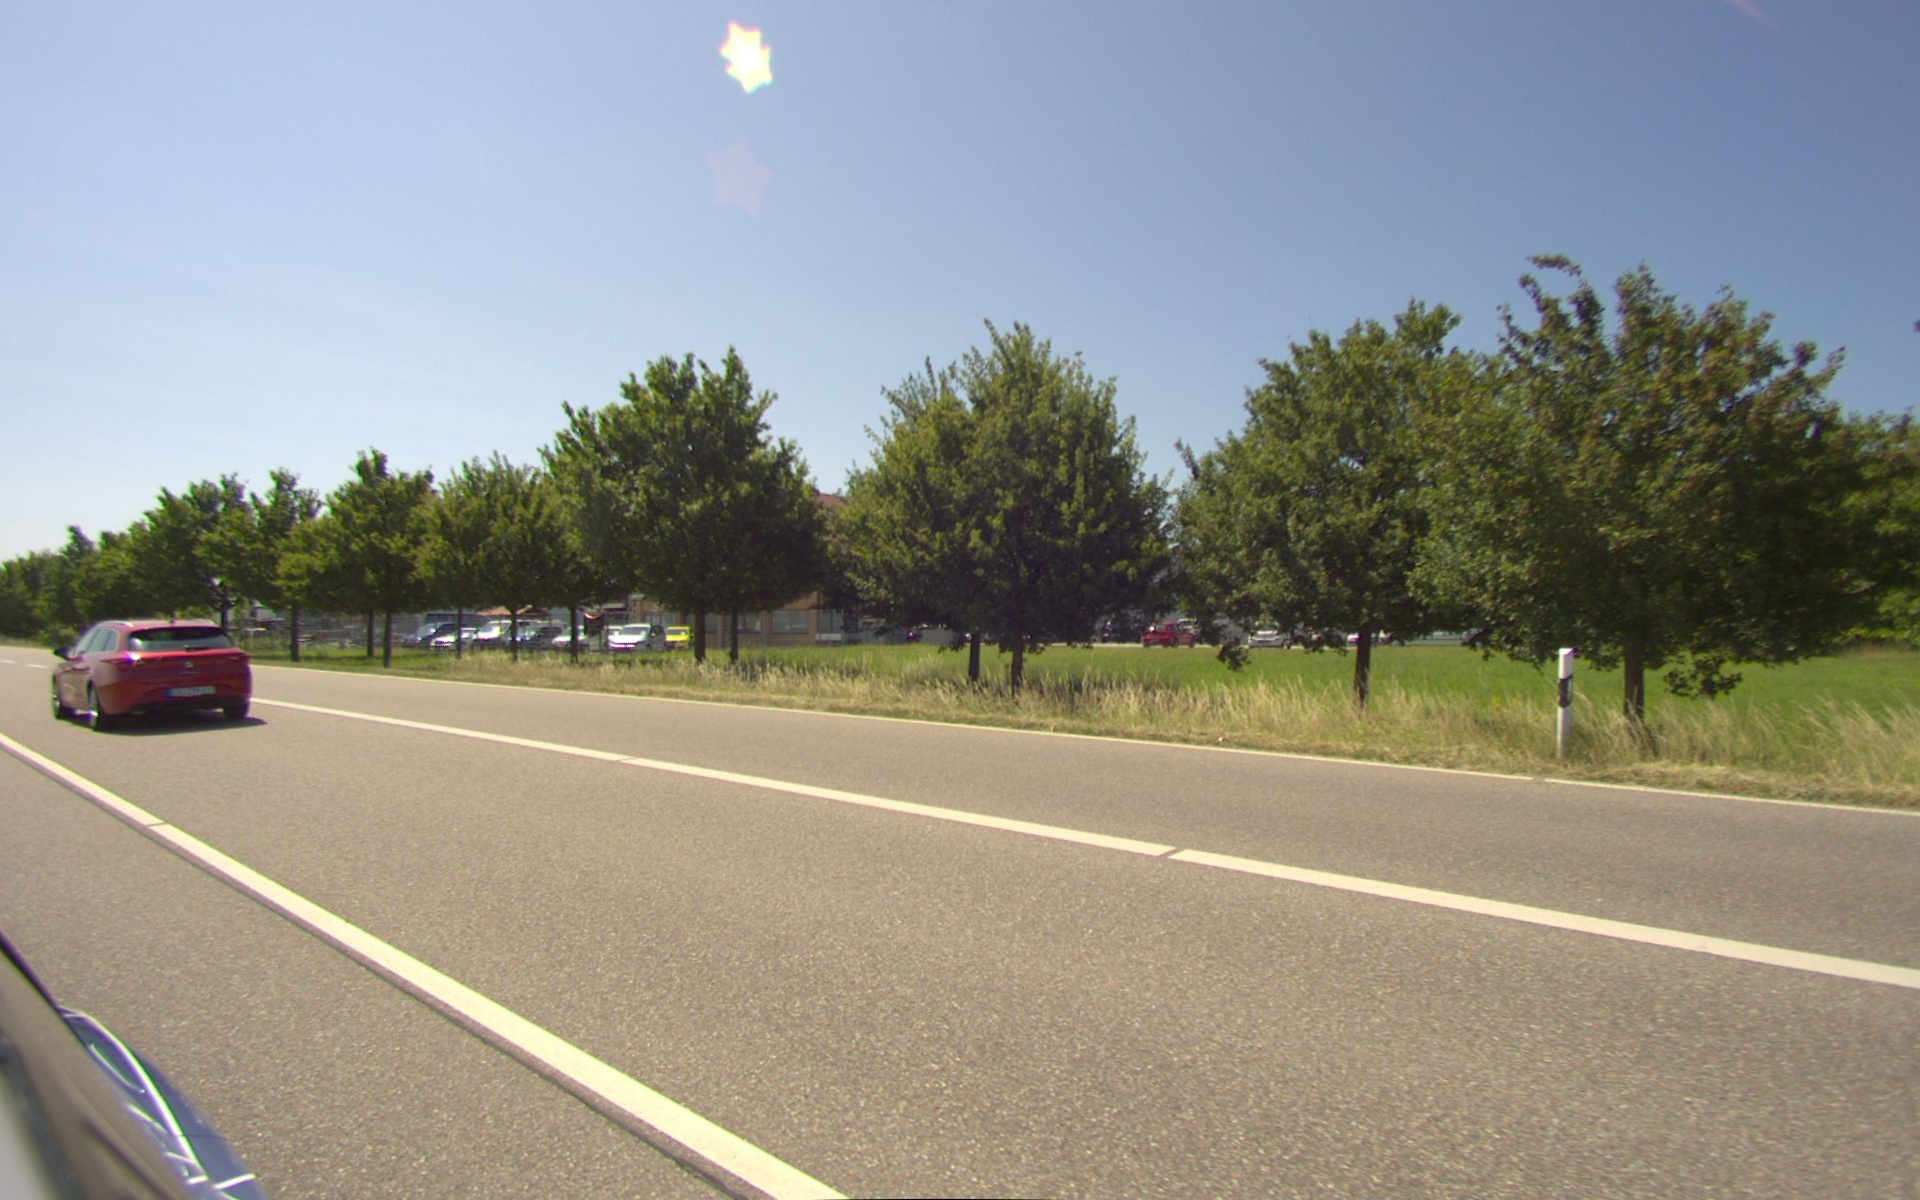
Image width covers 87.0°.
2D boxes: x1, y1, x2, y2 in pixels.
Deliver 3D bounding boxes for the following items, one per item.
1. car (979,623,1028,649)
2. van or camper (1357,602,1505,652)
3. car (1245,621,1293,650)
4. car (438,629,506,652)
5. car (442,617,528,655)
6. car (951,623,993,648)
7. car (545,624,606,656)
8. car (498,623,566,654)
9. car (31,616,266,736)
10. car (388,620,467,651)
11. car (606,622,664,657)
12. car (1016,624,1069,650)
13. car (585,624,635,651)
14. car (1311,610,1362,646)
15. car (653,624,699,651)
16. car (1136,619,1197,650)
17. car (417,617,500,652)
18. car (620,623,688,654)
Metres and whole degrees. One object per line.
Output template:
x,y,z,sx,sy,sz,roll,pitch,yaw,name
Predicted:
2.616,2.139,60.546,1.427,1.431,3.575,-1,-1,30,car
24.057,1.345,51.821,6.523,2.381,2.441,-1,-1,35,van or camper
15.747,1.775,51.459,1.987,1.364,3.970,-1,-1,22,car
-29.055,2.391,60.333,1.798,1.274,3.665,-1,-1,12,car
-26.619,1.976,56.886,1.809,1.969,4.643,-1,-1,14,car
0.767,2.141,62.060,1.227,1.431,3.036,-1,-1,30,car
-19.953,2.048,52.644,1.649,1.491,3.993,-1,-1,0,car
-23.647,2.105,56.069,1.973,1.608,3.996,-1,-1,3,car
-11.724,0.985,14.507,4.620,1.422,1.725,-1,0,40,car
-32.935,2.160,62.752,2.006,1.815,4.284,-1,-1,15,car
-16.113,1.932,50.367,1.567,1.555,4.343,-1,-1,-1,car
4.849,2.124,58.966,1.732,1.431,3.575,-1,-1,31,car
-20.360,2.162,58.953,1.494,1.463,3.340,-1,-1,6,car
22.630,1.645,60.795,1.995,2.029,3.954,-1,-1,34,car
-15.939,2.083,56.997,1.713,1.409,4.003,-1,-1,-4,car
11.092,1.824,54.182,1.923,1.519,3.955,-1,-1,33,car
-39.881,2.758,80.684,5.646,2.743,2.372,1,-2,-19,car
-25.304,3.192,83.803,5.035,2.445,2.054,0,-3,2,car
